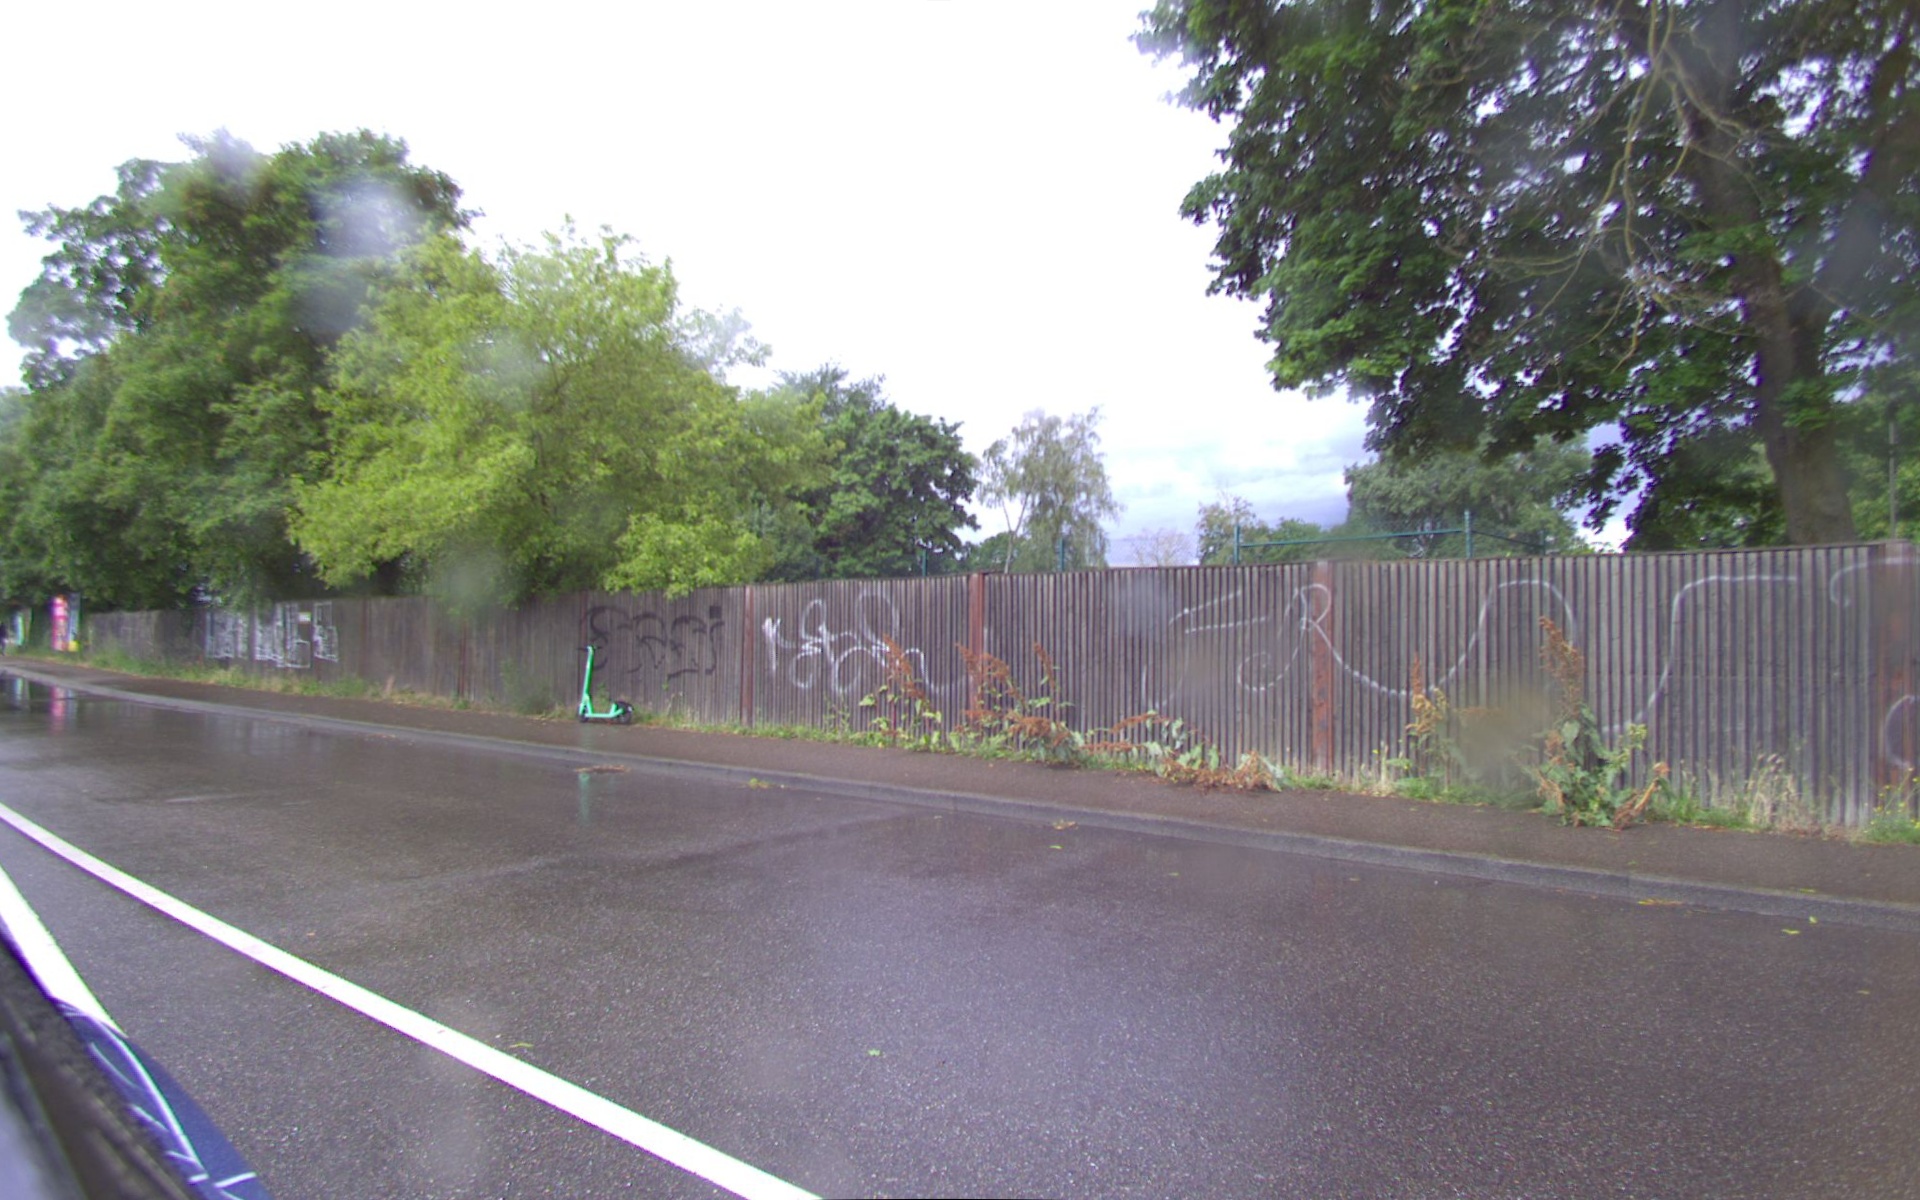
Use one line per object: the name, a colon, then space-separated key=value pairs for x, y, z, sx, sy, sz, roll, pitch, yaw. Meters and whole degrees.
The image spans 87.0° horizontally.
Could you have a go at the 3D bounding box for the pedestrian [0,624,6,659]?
pedestrian: x=-49.044 y=2.125 z=51.359 sx=0.644 sy=1.783 sz=0.830 roll=-2 pitch=-3 yaw=41

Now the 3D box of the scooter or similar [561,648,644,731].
scooter or similar: x=-5.325 y=1.306 z=15.049 sx=1.205 sy=1.171 sz=0.557 roll=-1 pitch=-2 yaw=34
